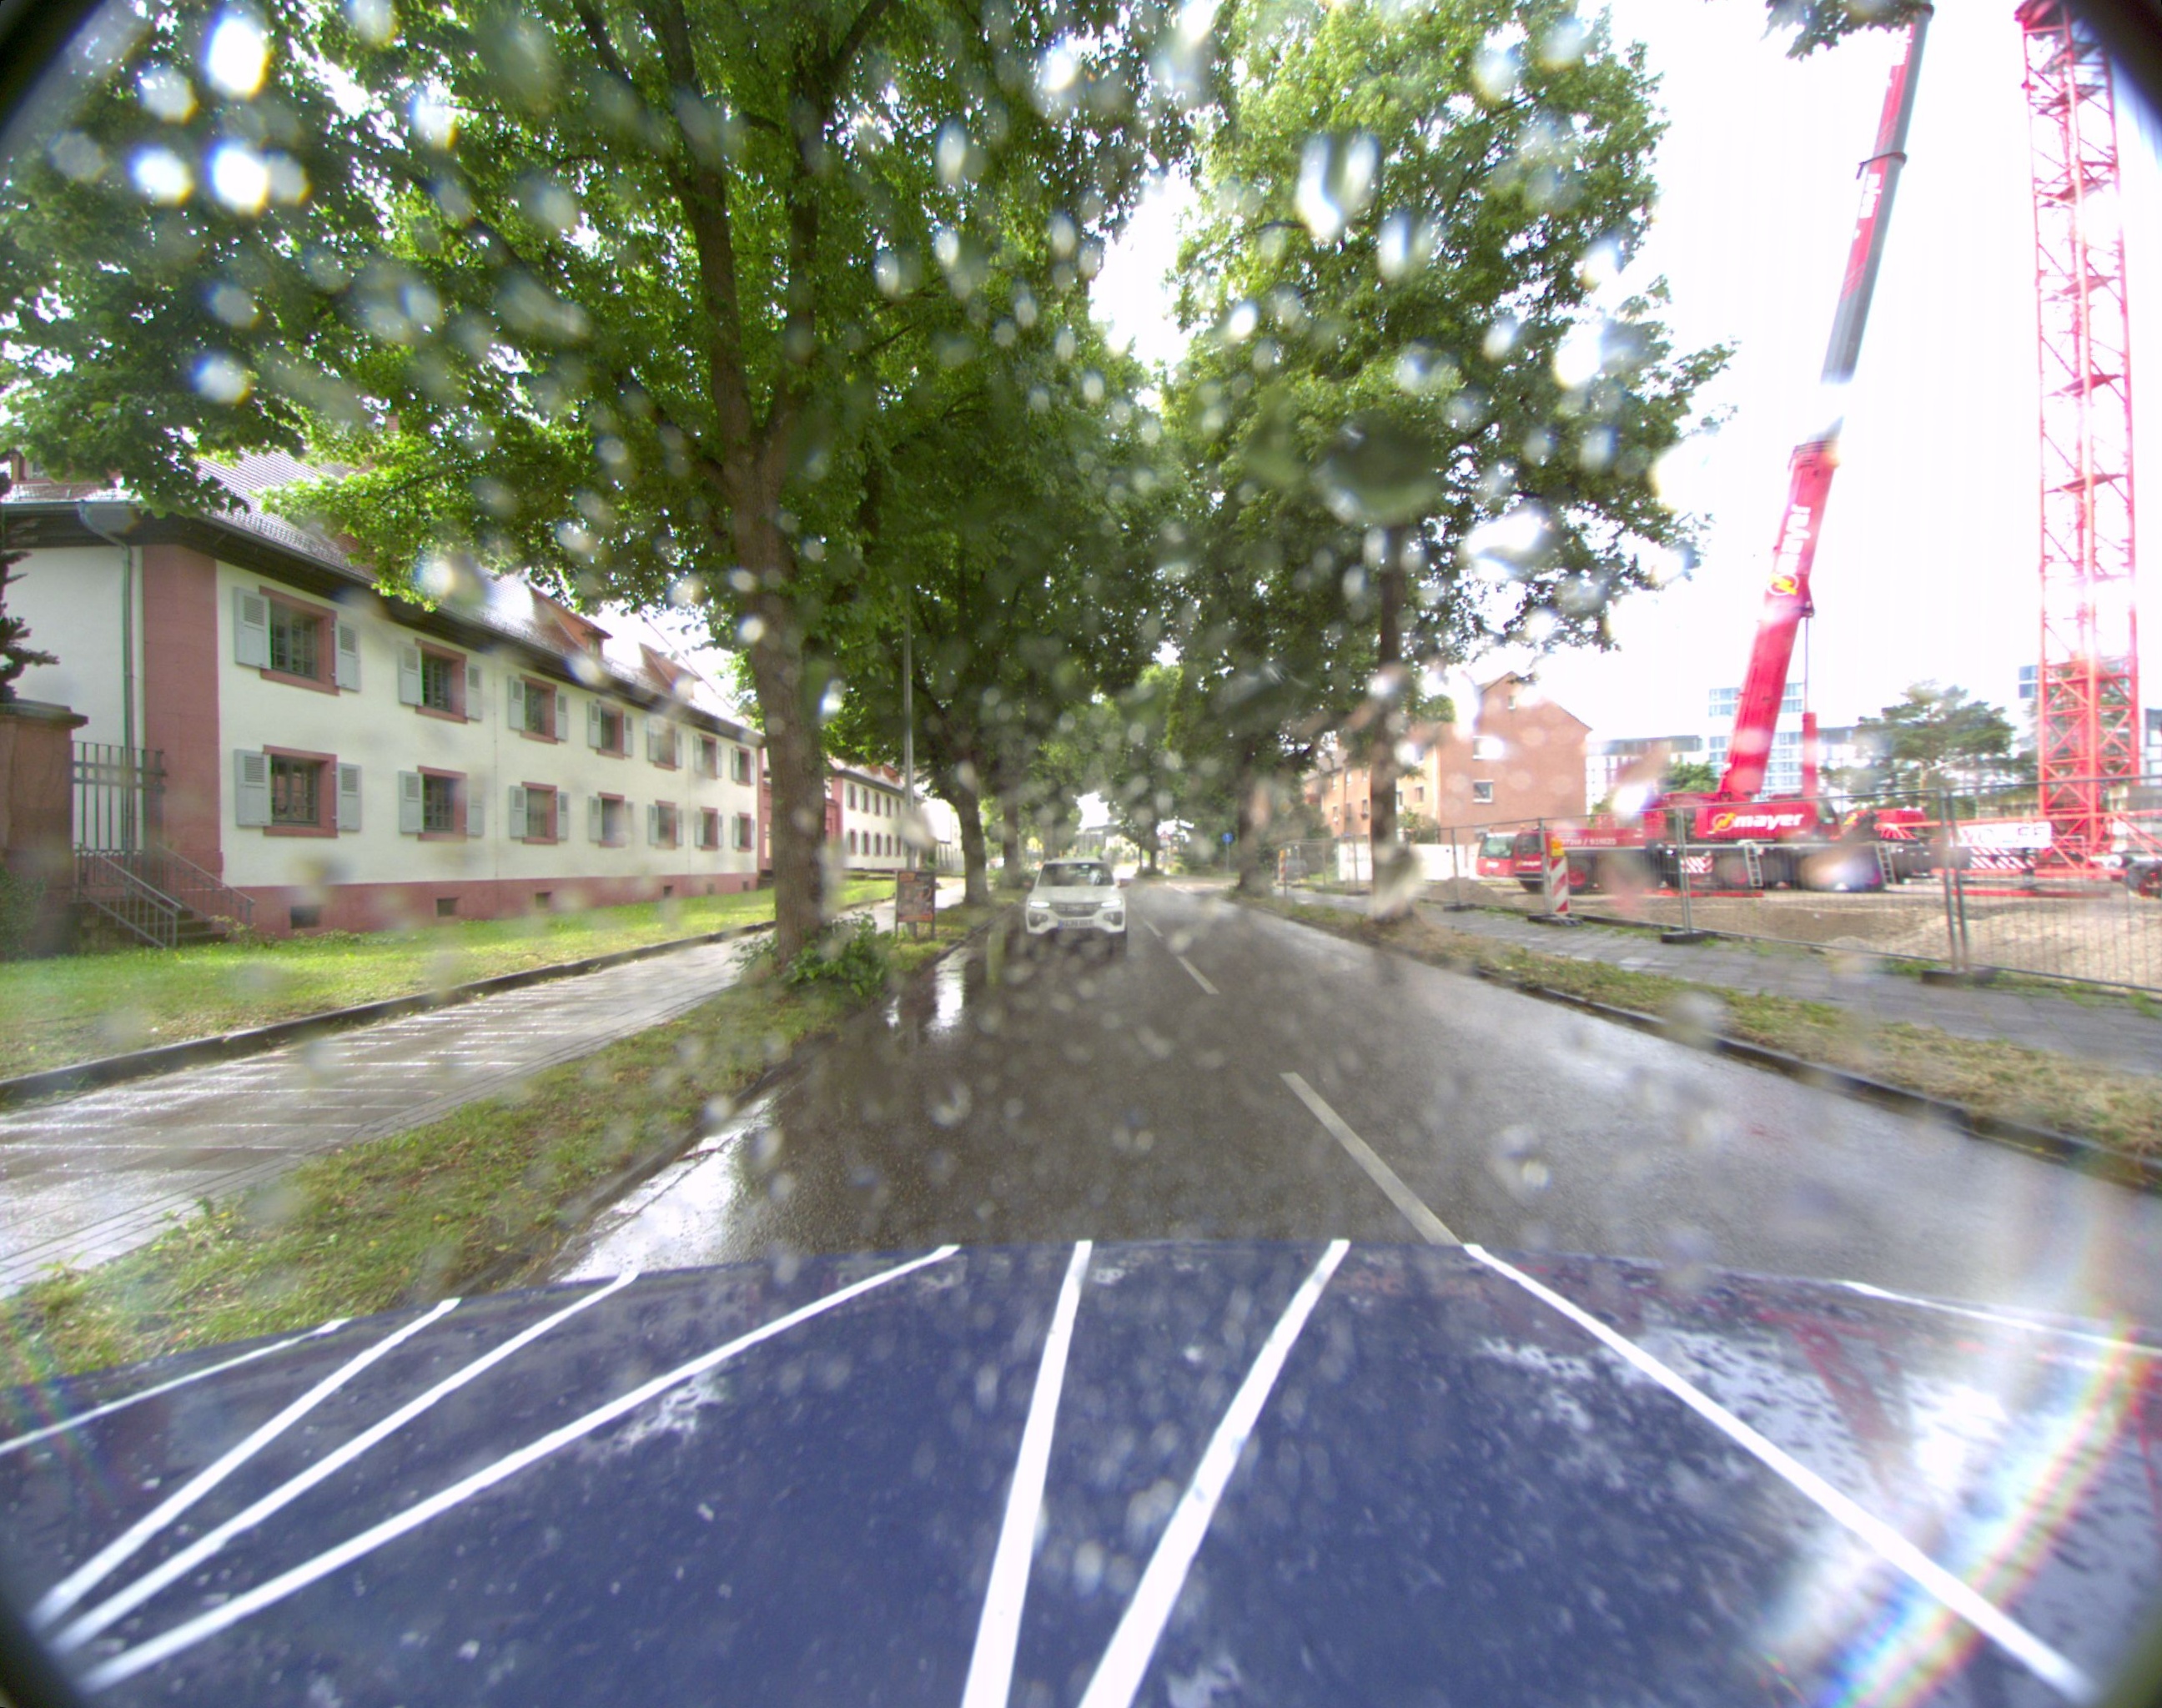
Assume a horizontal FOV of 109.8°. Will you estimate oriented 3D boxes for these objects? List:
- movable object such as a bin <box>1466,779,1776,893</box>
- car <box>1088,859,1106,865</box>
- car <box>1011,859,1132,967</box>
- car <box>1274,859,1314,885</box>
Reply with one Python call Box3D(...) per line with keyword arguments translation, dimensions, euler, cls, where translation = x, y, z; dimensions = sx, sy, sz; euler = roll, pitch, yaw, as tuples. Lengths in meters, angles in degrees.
Box3D(translation=(21.244, -0.644, 30.437), dimensions=(9.834, 4.091, 3.367), euler=(-1, -1, 3), cls="movable object such as a bin")
Box3D(translation=(3.302, 1.670, 157.393), dimensions=(3.451, 1.229, 1.496), euler=(-1, 0, 21), cls="car")
Box3D(translation=(-0.134, 0.885, 12.967), dimensions=(1.737, 1.525, 3.617), euler=(-2, 0, 0), cls="car")
Box3D(translation=(13.725, 1.126, 49.144), dimensions=(1.628, 1.412, 3.869), euler=(-2, 1, 2), cls="car")
